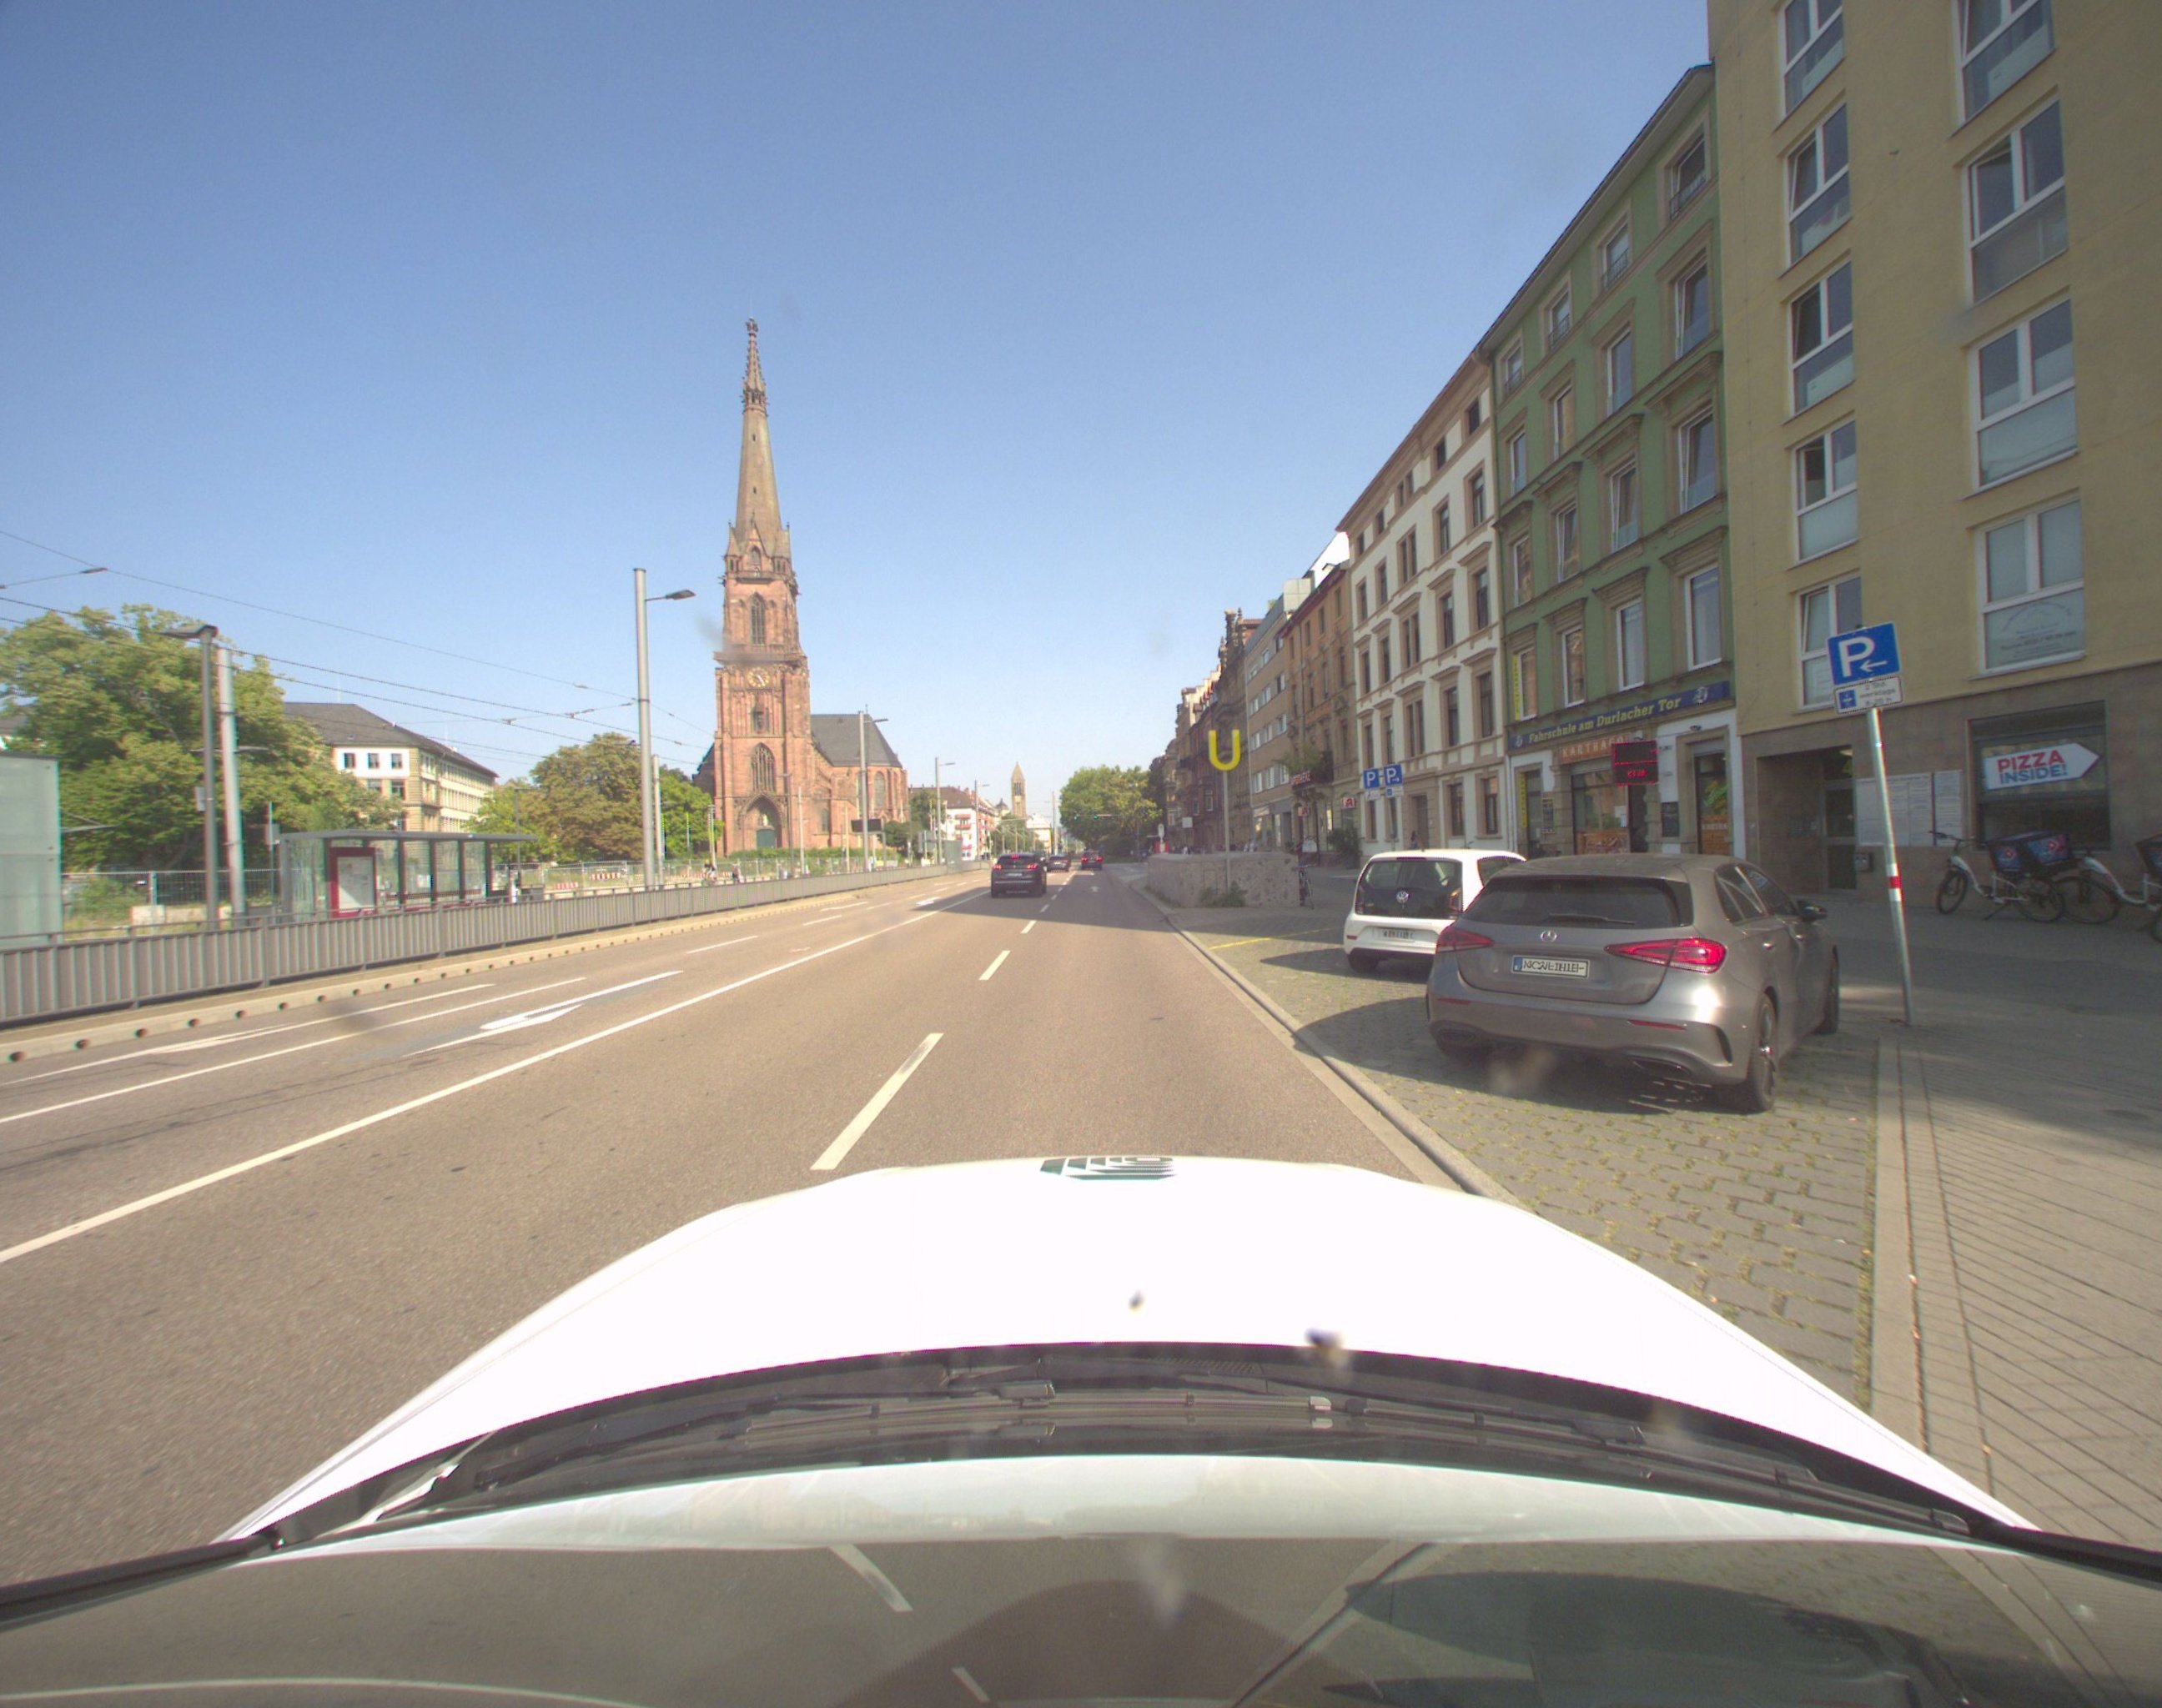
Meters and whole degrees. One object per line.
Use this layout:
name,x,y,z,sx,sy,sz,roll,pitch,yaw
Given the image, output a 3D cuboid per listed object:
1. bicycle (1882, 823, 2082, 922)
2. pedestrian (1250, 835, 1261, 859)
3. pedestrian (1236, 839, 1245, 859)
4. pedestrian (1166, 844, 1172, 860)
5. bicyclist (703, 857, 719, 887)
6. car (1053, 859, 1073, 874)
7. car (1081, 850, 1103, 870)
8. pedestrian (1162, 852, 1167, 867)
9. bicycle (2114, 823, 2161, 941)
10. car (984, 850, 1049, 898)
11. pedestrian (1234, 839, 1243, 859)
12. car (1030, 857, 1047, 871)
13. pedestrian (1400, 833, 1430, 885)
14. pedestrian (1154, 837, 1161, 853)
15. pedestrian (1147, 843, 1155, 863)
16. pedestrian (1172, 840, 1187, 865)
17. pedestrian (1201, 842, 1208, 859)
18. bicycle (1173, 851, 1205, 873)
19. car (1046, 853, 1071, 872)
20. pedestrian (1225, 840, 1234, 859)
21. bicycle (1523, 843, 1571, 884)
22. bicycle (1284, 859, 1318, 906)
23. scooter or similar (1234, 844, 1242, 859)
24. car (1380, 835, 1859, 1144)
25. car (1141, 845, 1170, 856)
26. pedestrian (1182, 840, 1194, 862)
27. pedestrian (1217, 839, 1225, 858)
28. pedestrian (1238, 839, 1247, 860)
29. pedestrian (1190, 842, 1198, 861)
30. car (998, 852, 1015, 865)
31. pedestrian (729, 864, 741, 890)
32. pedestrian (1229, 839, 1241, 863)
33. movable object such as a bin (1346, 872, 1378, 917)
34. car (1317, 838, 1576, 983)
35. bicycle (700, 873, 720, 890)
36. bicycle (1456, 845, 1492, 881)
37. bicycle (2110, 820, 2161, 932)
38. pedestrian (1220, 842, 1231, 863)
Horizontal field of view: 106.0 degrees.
bicycle,12.626,0.233,11.518,0.600,1.261,1.997,-2,0,1
pedestrian,13.268,-0.516,61.982,0.602,1.831,0.742,-2,0,-3
pedestrian,13.577,-0.410,69.211,0.602,1.691,0.586,-2,0,-3
pedestrian,9.175,-0.197,85.012,0.480,1.702,0.702,-2,0,-3
bicyclist,-22.304,1.066,49.113,0.485,1.747,0.819,-2,0,1
car,-1.837,1.264,84.519,1.857,1.424,4.358,-1,0,1
car,1.002,0.512,72.299,1.825,1.621,4.358,-1,0,1
pedestrian,6.977,0.436,68.056,0.275,1.274,0.447,-2,0,-6
bicycle,12.032,0.293,8.190,0.602,1.261,1.992,-2,0,-7
car,-2.323,0.685,30.638,1.986,1.621,4.358,-1,0,1
pedestrian,13.516,-0.450,69.998,0.602,1.691,0.586,-2,0,-3
car,-4.892,1.149,94.404,1.735,1.526,3.872,-3,0,0
pedestrian,10.772,0.155,26.265,0.606,1.629,0.737,-2,0,1
pedestrian,8.021,-0.927,85.505,0.688,1.664,0.619,-2,0,1
pedestrian,6.076,-0.084,71.047,0.563,1.729,0.745,-2,0,-3
pedestrian,7.379,-0.087,60.969,0.923,1.831,0.800,-2,0,-3
pedestrian,11.937,-0.333,78.800,0.484,1.610,0.813,-2,0,2
bicycle,5.833,0.429,44.017,1.626,1.148,0.602,-3,0,2
car,-1.855,0.666,67.371,1.857,1.424,4.358,-1,0,1
pedestrian,13.190,-0.390,72.132,0.602,1.654,0.586,-2,0,-3
bicycle,13.304,0.257,23.304,0.382,1.134,1.720,-2,0,1
bicycle,5.643,0.707,20.917,0.382,1.134,1.791,-2,0,1
scooter or similar,12.960,-0.217,67.044,0.359,1.163,1.151,-2,0,-2
car,4.213,0.629,6.027,4.433,1.423,1.826,-2,0,-41
car,11.421,-0.530,124.899,4.172,1.563,1.997,-2,0,-4
pedestrian,8.510,-0.227,64.990,0.748,1.729,0.800,-2,0,-3
pedestrian,13.043,-0.514,75.835,0.627,1.719,0.691,-2,0,0
pedestrian,13.512,-0.405,68.192,0.602,1.731,0.510,-2,0,-3
pedestrian,10.922,-0.247,78.842,0.614,1.804,1.072,-2,0,2
car,-9.834,0.562,107.616,1.707,1.611,4.505,-4,0,0
pedestrian,-23.407,1.558,55.095,0.515,1.700,0.664,-2,0,0
pedestrian,12.078,-0.227,63.764,0.717,1.787,0.856,-2,0,2
movable object such as a bin,5.930,0.842,17.201,0.487,0.903,0.538,-2,0,3
car,4.680,0.583,10.236,3.547,1.464,1.603,-2,0,-41
bicycle,-22.335,1.655,49.039,0.349,0.954,1.696,-2,0,1
bicycle,13.128,0.285,27.249,0.382,1.134,1.720,-2,0,1
bicycle,12.669,0.245,8.725,0.602,1.261,1.992,-2,0,-7
pedestrian,11.326,-0.116,63.780,0.717,1.610,0.856,-2,0,2
